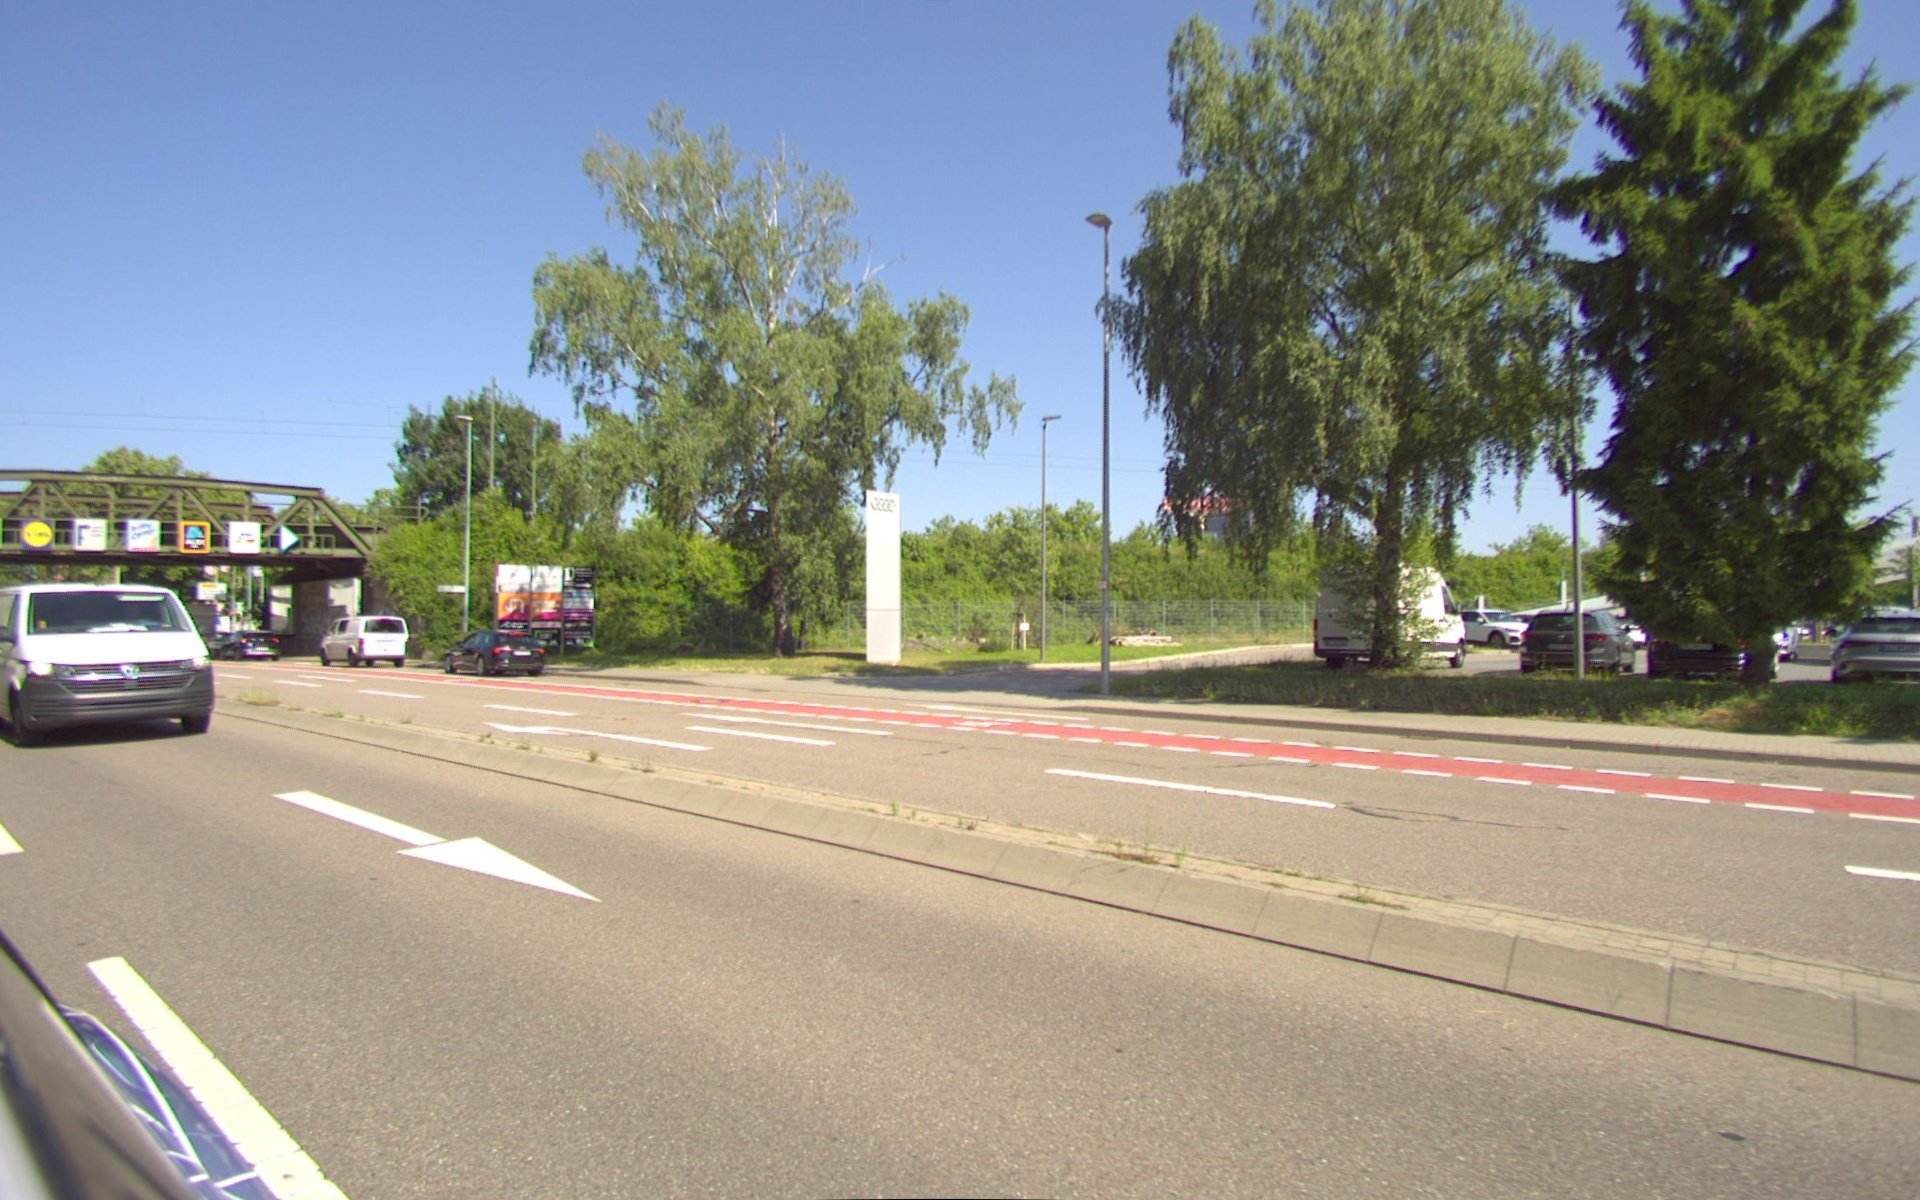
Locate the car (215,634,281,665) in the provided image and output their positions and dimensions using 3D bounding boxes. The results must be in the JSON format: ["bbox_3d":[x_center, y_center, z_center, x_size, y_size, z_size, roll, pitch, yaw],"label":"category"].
[{"bbox_3d":[-35.701,2.506,50.715,4.176,1.506,1.749,-3,-5,42],"label":"car"}]

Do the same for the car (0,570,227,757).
[{"bbox_3d":[-11.421,0.764,13.235,4.971,2.009,1.862,-2,-3,41],"label":"car"}]

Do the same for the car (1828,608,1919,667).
[{"bbox_3d":[24.293,0.993,26.897,1.743,1.449,4.043,-2,-2,42],"label":"car"}]

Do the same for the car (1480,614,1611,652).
[{"bbox_3d":[23.986,1.349,41.665,1.966,1.453,4.562,1,-2,-15],"label":"car"}]

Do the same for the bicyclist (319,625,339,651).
[{"bbox_3d":[-30.905,1.873,49.569,0.626,1.237,0.951,2,-3,-44],"label":"bicyclist"}]

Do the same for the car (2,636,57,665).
[{"bbox_3d":[-55.526,2.984,60.361,4.949,1.694,1.972,-2,-3,42],"label":"car"}]

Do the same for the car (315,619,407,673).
[{"bbox_3d":[-24.082,1.813,40.594,1.970,2.029,5.350,2,-3,-44],"label":"car"}]

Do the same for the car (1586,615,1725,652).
[{"bbox_3d":[29.023,1.405,42.412,1.966,1.453,4.562,1,-2,-15],"label":"car"}]

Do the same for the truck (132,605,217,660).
[{"bbox_3d":[-46.430,1.928,59.761,7.060,3.112,2.318,-2,-2,38],"label":"truck"}]

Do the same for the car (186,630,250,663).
[{"bbox_3d":[-40.953,2.604,55.834,4.286,1.703,1.963,-3,-5,42],"label":"car"}]

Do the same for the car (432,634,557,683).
[{"bbox_3d":[-14.752,1.784,31.966,4.682,1.424,1.971,-2,-3,44],"label":"car"}]

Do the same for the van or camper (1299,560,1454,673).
[{"bbox_3d":[10.385,0.370,24.981,1.998,2.489,5.326,-3,-1,39],"label":"van or camper"}]

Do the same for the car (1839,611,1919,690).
[{"bbox_3d":[17.185,0.875,18.317,1.744,1.303,4.041,-2,-2,43],"label":"car"}]

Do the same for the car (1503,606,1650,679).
[{"bbox_3d":[13.579,0.914,22.197,4.038,1.449,1.745,2,-3,-43],"label":"car"}]

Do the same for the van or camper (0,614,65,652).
[{"bbox_3d":[-83.807,2.933,90.127,2.595,3.179,5.711,-3,-1,36],"label":"van or camper"}]

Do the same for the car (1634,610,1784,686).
[{"bbox_3d":[15.179,0.919,20.433,4.038,1.364,1.745,2,-2,-43],"label":"car"}]

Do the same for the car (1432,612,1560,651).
[{"bbox_3d":[21.558,1.278,40.932,1.966,1.453,4.562,1,-2,-15],"label":"car"}]
